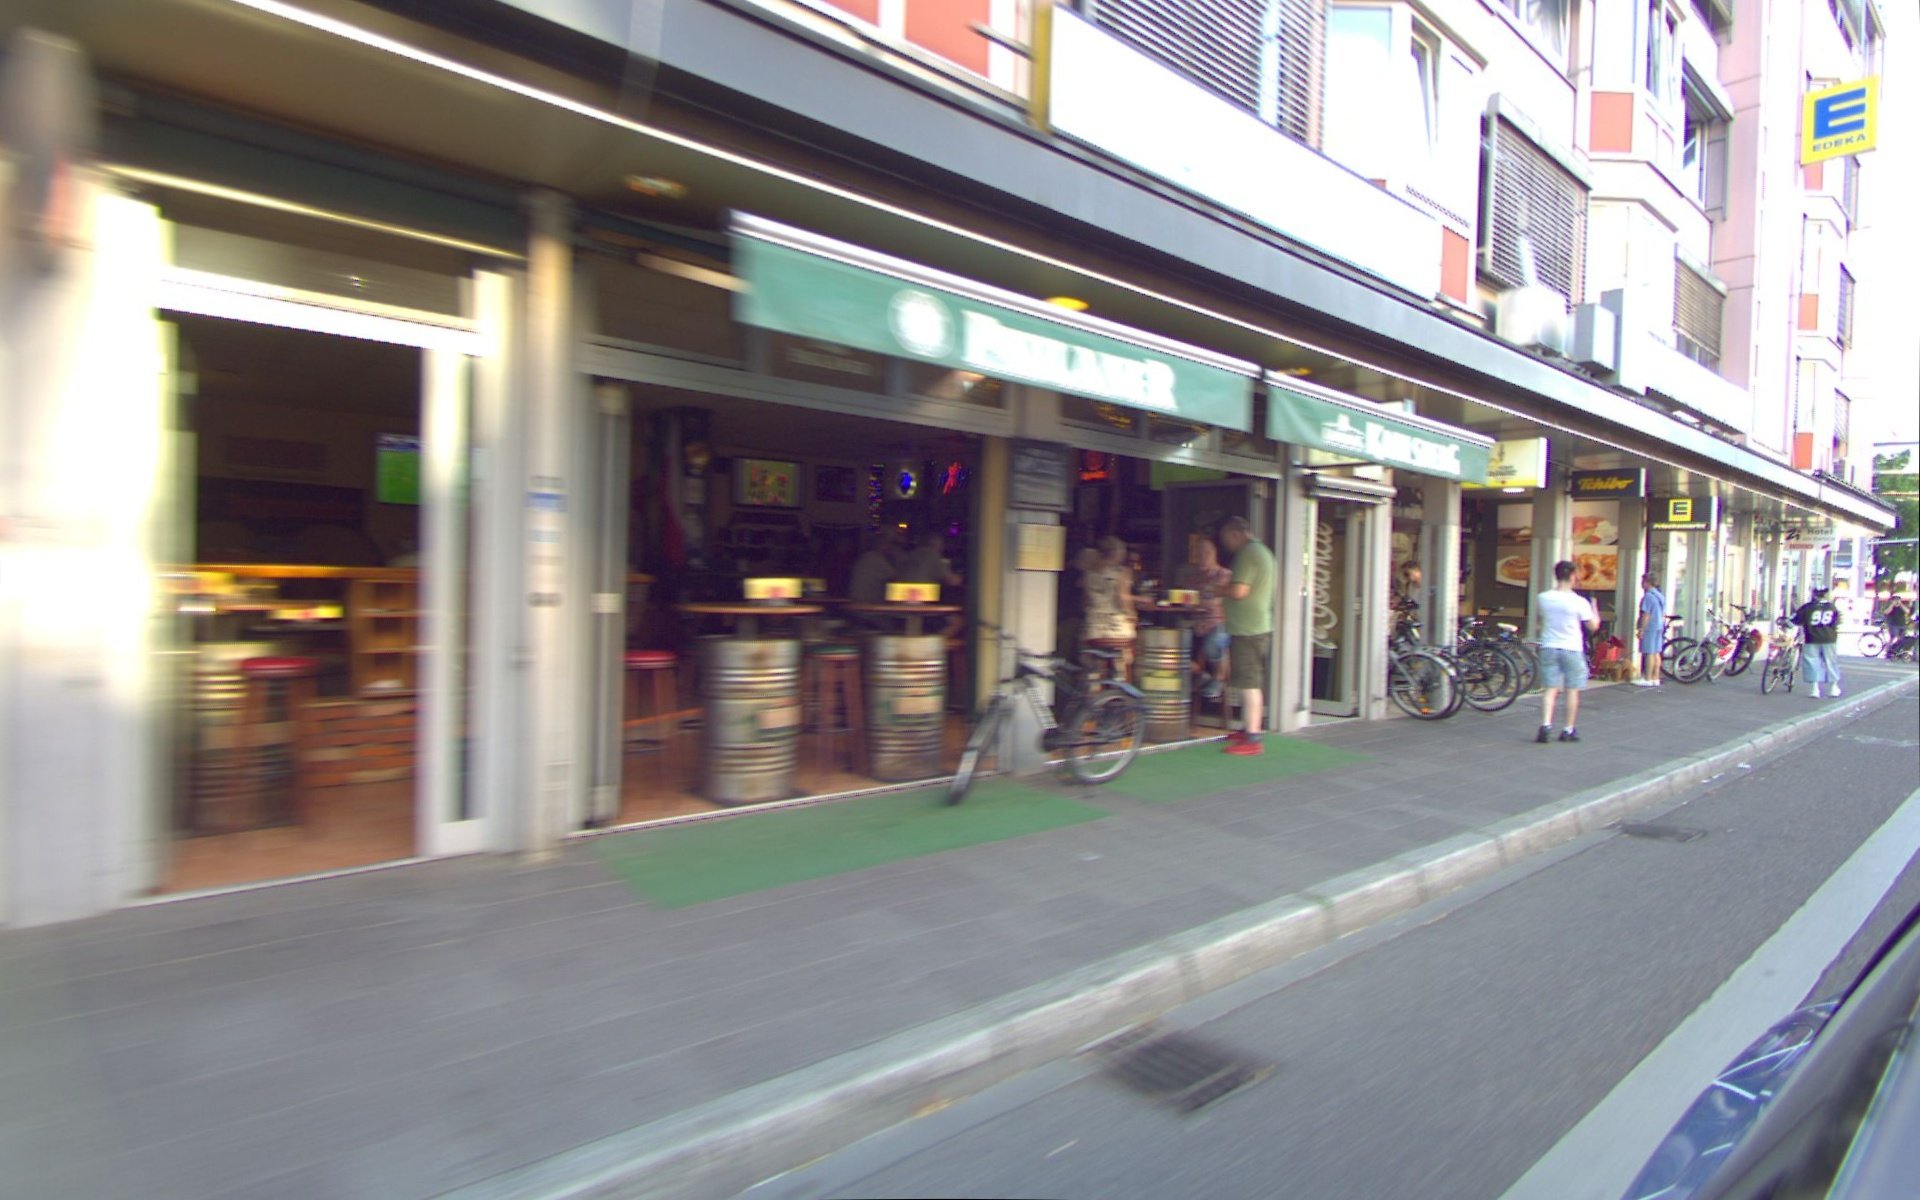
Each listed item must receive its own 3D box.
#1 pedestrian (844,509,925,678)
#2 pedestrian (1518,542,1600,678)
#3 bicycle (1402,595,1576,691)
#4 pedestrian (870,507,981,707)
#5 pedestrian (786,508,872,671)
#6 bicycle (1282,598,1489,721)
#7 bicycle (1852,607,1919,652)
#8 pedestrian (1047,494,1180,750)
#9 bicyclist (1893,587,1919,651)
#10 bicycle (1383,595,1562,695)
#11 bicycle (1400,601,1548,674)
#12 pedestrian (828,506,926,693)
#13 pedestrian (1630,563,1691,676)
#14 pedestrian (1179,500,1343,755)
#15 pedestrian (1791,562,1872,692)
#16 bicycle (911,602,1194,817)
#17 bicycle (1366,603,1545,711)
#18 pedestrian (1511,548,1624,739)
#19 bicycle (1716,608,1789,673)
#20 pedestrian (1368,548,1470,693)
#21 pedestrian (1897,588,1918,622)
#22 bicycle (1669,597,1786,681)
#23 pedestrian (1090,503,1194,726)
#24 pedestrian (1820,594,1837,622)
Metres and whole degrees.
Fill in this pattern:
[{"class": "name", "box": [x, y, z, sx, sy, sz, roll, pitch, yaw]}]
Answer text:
[{"class": "pedestrian", "box": [-0.885, -0.092, 11.737, 0.673, 1.889, 0.781, 1, 3, -23]}, {"class": "pedestrian", "box": [8.390, 0.129, 14.213, 0.722, 1.839, 0.804, 1, 1, 12]}, {"class": "bicycle", "box": [6.979, 0.533, 13.437, 0.567, 1.073, 1.927, 0, 3, -43]}, {"class": "pedestrian", "box": [-0.347, 0.042, 10.062, 0.735, 1.889, 0.779, 0, 3, -38]}, {"class": "pedestrian", "box": [-1.582, -0.142, 12.181, 0.764, 1.889, 0.688, 0, 3, -32]}, {"class": "bicycle", "box": [4.432, 0.572, 10.682, 0.566, 1.073, 1.928, 0, 3, -40]}, {"class": "bicycle", "box": [25.533, 0.800, 27.280, 0.756, 1.137, 2.171, 0, 2, -44]}, {"class": "pedestrian", "box": [1.211, 0.135, 7.953, 0.773, 1.889, 0.680, 3, 3, 30]}, {"class": "bicyclist", "box": [25.575, 0.500, 27.228, 0.756, 1.699, 0.635, 0, 2, -44]}, {"class": "bicycle", "box": [6.523, 0.536, 12.973, 0.567, 1.073, 1.927, 0, 3, -43]}, {"class": "bicycle", "box": [7.907, 0.547, 15.648, 0.567, 0.949, 1.927, 0, 4, -43]}, {"class": "pedestrian", "box": [-0.891, -0.031, 10.769, 0.675, 1.889, 0.779, 0, 3, -38]}, {"class": "pedestrian", "box": [10.373, 0.283, 14.994, 0.451, 1.614, 0.409, 2, 4, -13]}, {"class": "pedestrian", "box": [2.391, 0.172, 8.069, 0.766, 1.889, 0.915, -1, 4, -43]}, {"class": "pedestrian", "box": [12.781, 0.375, 14.841, 0.721, 1.839, 0.805, 0, 1, -44]}, {"class": "bicycle", "box": [0.618, 0.598, 6.297, 1.763, 1.079, 0.659, 0, 6, -42]}, {"class": "bicycle", "box": [5.547, 0.601, 11.432, 0.496, 0.985, 1.737, 0, 5, -35]}, {"class": "pedestrian", "box": [5.684, 0.371, 9.470, 0.757, 1.694, 0.633, 0, 3, -41]}, {"class": "bicycle", "box": [13.960, 0.680, 17.807, 1.813, 0.987, 0.677, -1, 7, -44]}, {"class": "pedestrian", "box": [5.650, 0.218, 12.459, 0.902, 1.683, 0.778, -1, 4, -43]}, {"class": "pedestrian", "box": [57.113, 0.296, 61.012, 0.743, 2.039, 1.057, -1, -1, 36]}, {"class": "bicycle", "box": [11.987, 0.588, 15.804, 1.600, 1.189, 0.803, 1, 5, -29]}, {"class": "pedestrian", "box": [1.645, 0.100, 9.097, 0.769, 1.889, 0.683, 3, 3, 18]}, {"class": "pedestrian", "box": [44.498, 0.411, 51.860, 0.594, 1.461, 0.605, -1, -1, 38]}]
